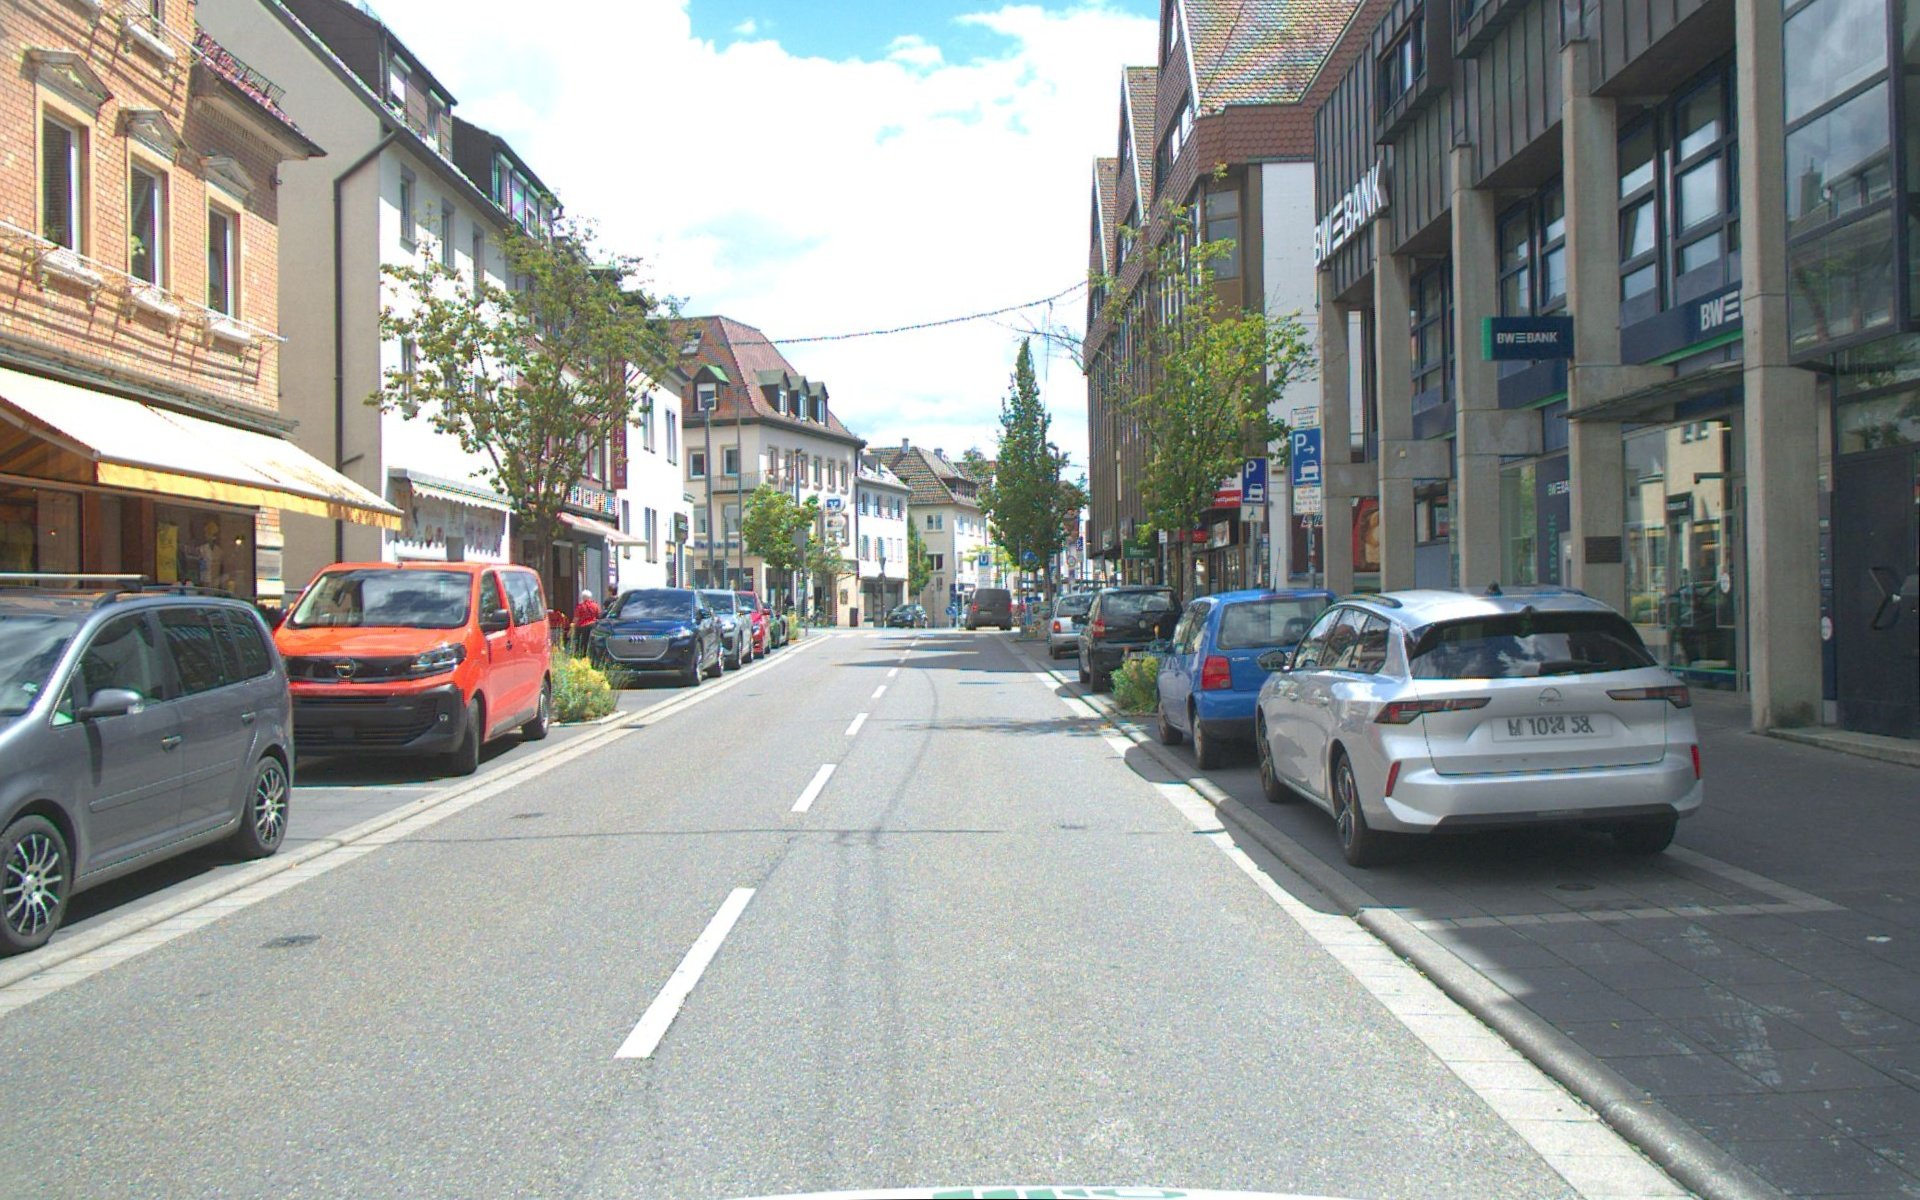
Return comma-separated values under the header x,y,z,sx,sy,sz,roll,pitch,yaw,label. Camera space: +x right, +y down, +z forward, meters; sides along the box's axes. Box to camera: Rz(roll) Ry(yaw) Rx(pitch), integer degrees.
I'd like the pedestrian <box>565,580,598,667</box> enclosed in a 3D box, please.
x,y,z,sx,sy,sz,roll,pitch,yaw,label
-7.374,0.450,32.233,0.491,1.677,0.574,1,-1,-2,pedestrian

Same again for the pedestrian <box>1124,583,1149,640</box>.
x,y,z,sx,sy,sz,roll,pitch,yaw,label
5.681,0.370,53.364,0.722,1.846,0.711,1,-1,0,pedestrian

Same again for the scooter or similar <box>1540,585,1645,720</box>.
x,y,z,sx,sy,sz,roll,pitch,yaw,label
6.203,0.498,16.287,0.413,1.267,1.561,1,-1,-1,scooter or similar

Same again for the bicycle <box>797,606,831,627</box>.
x,y,z,sx,sy,sz,roll,pitch,yaw,label
-7.474,0.833,84.718,1.597,1.049,0.568,0,-1,15,bicycle

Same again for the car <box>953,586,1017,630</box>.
x,y,z,sx,sy,sz,roll,pitch,yaw,label
1.080,0.370,75.346,2.004,1.881,4.987,1,-1,-10,car

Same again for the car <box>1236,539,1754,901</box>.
x,y,z,sx,sy,sz,roll,pitch,yaw,label
2.922,0.541,10.107,1.686,1.604,4.429,-4,1,1,car

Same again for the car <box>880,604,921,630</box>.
x,y,z,sx,sy,sz,roll,pitch,yaw,label
-3.461,0.985,97.540,1.590,1.512,3.808,0,-1,11,car

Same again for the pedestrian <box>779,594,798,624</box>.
x,y,z,sx,sy,sz,roll,pitch,yaw,label
-9.007,0.460,86.854,0.613,1.559,0.858,0,-1,23,pedestrian

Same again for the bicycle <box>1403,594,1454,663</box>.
x,y,z,sx,sy,sz,roll,pitch,yaw,label
7.970,0.472,28.175,0.416,1.139,1.741,0,-1,2,bicycle

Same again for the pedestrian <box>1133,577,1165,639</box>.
x,y,z,sx,sy,sz,roll,pitch,yaw,label
5.324,0.221,46.627,0.647,1.736,0.642,1,-1,-23,pedestrian

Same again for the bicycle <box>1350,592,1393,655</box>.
x,y,z,sx,sy,sz,roll,pitch,yaw,label
7.458,0.412,30.023,0.416,1.100,1.502,-2,1,2,bicycle

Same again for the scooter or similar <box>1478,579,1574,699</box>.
x,y,z,sx,sy,sz,roll,pitch,yaw,label
6.194,0.414,18.147,0.398,1.267,1.321,1,-1,-10,scooter or similar

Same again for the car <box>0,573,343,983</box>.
x,y,z,sx,sy,sz,roll,pitch,yaw,label
-5.040,0.782,8.762,1.778,1.786,4.464,1,-1,1,car

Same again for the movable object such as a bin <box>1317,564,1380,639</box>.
x,y,z,sx,sy,sz,roll,pitch,yaw,label
8.185,0.029,34.910,1.118,1.554,1.032,1,-1,2,movable object such as a bin

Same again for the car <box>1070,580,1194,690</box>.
x,y,z,sx,sy,sz,roll,pitch,yaw,label
2.661,0.504,26.242,1.576,1.559,3.795,-2,0,1,car

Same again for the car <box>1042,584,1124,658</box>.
x,y,z,sx,sy,sz,roll,pitch,yaw,label
2.800,0.446,38.334,1.576,1.520,3.795,-4,0,1,car

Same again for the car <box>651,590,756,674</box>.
x,y,z,sx,sy,sz,roll,pitch,yaw,label
-5.310,0.622,34.716,1.764,1.632,4.348,-1,0,-4,car

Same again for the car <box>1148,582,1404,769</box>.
x,y,z,sx,sy,sz,roll,pitch,yaw,label
2.826,0.636,15.626,1.686,1.520,4.109,1,-1,1,car

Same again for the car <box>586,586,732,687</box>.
x,y,z,sx,sy,sz,roll,pitch,yaw,label
-5.172,0.583,28.962,1.762,1.626,4.388,0,0,0,car

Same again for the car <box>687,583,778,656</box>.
x,y,z,sx,sy,sz,roll,pitch,yaw,label
-5.442,0.429,39.985,1.763,1.632,4.217,-1,0,-2,car

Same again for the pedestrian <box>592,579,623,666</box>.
x,y,z,sx,sy,sz,roll,pitch,yaw,label
-6.850,0.434,32.136,0.503,1.677,0.471,1,-1,-2,pedestrian

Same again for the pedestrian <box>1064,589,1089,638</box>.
x,y,z,sx,sy,sz,roll,pitch,yaw,label
3.929,0.464,55.706,0.768,1.644,0.800,1,-1,0,pedestrian

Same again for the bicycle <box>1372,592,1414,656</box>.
x,y,z,sx,sy,sz,roll,pitch,yaw,label
7.908,0.427,30.264,0.416,1.139,1.502,0,-1,2,bicycle

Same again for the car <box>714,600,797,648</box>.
x,y,z,sx,sy,sz,roll,pitch,yaw,label
-5.728,0.641,46.776,1.782,1.245,4.523,1,0,-1,car

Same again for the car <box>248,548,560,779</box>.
x,y,z,sx,sy,sz,roll,pitch,yaw,label
-5.216,0.553,16.217,1.781,1.922,4.835,1,-1,-5,car

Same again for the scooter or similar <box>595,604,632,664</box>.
x,y,z,sx,sy,sz,roll,pitch,yaw,label
-6.883,0.675,32.880,0.551,1.171,0.984,1,-1,-3,scooter or similar

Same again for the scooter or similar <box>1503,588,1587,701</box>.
x,y,z,sx,sy,sz,roll,pitch,yaw,label
6.887,0.511,19.532,0.413,1.267,1.561,1,-1,-1,scooter or similar
